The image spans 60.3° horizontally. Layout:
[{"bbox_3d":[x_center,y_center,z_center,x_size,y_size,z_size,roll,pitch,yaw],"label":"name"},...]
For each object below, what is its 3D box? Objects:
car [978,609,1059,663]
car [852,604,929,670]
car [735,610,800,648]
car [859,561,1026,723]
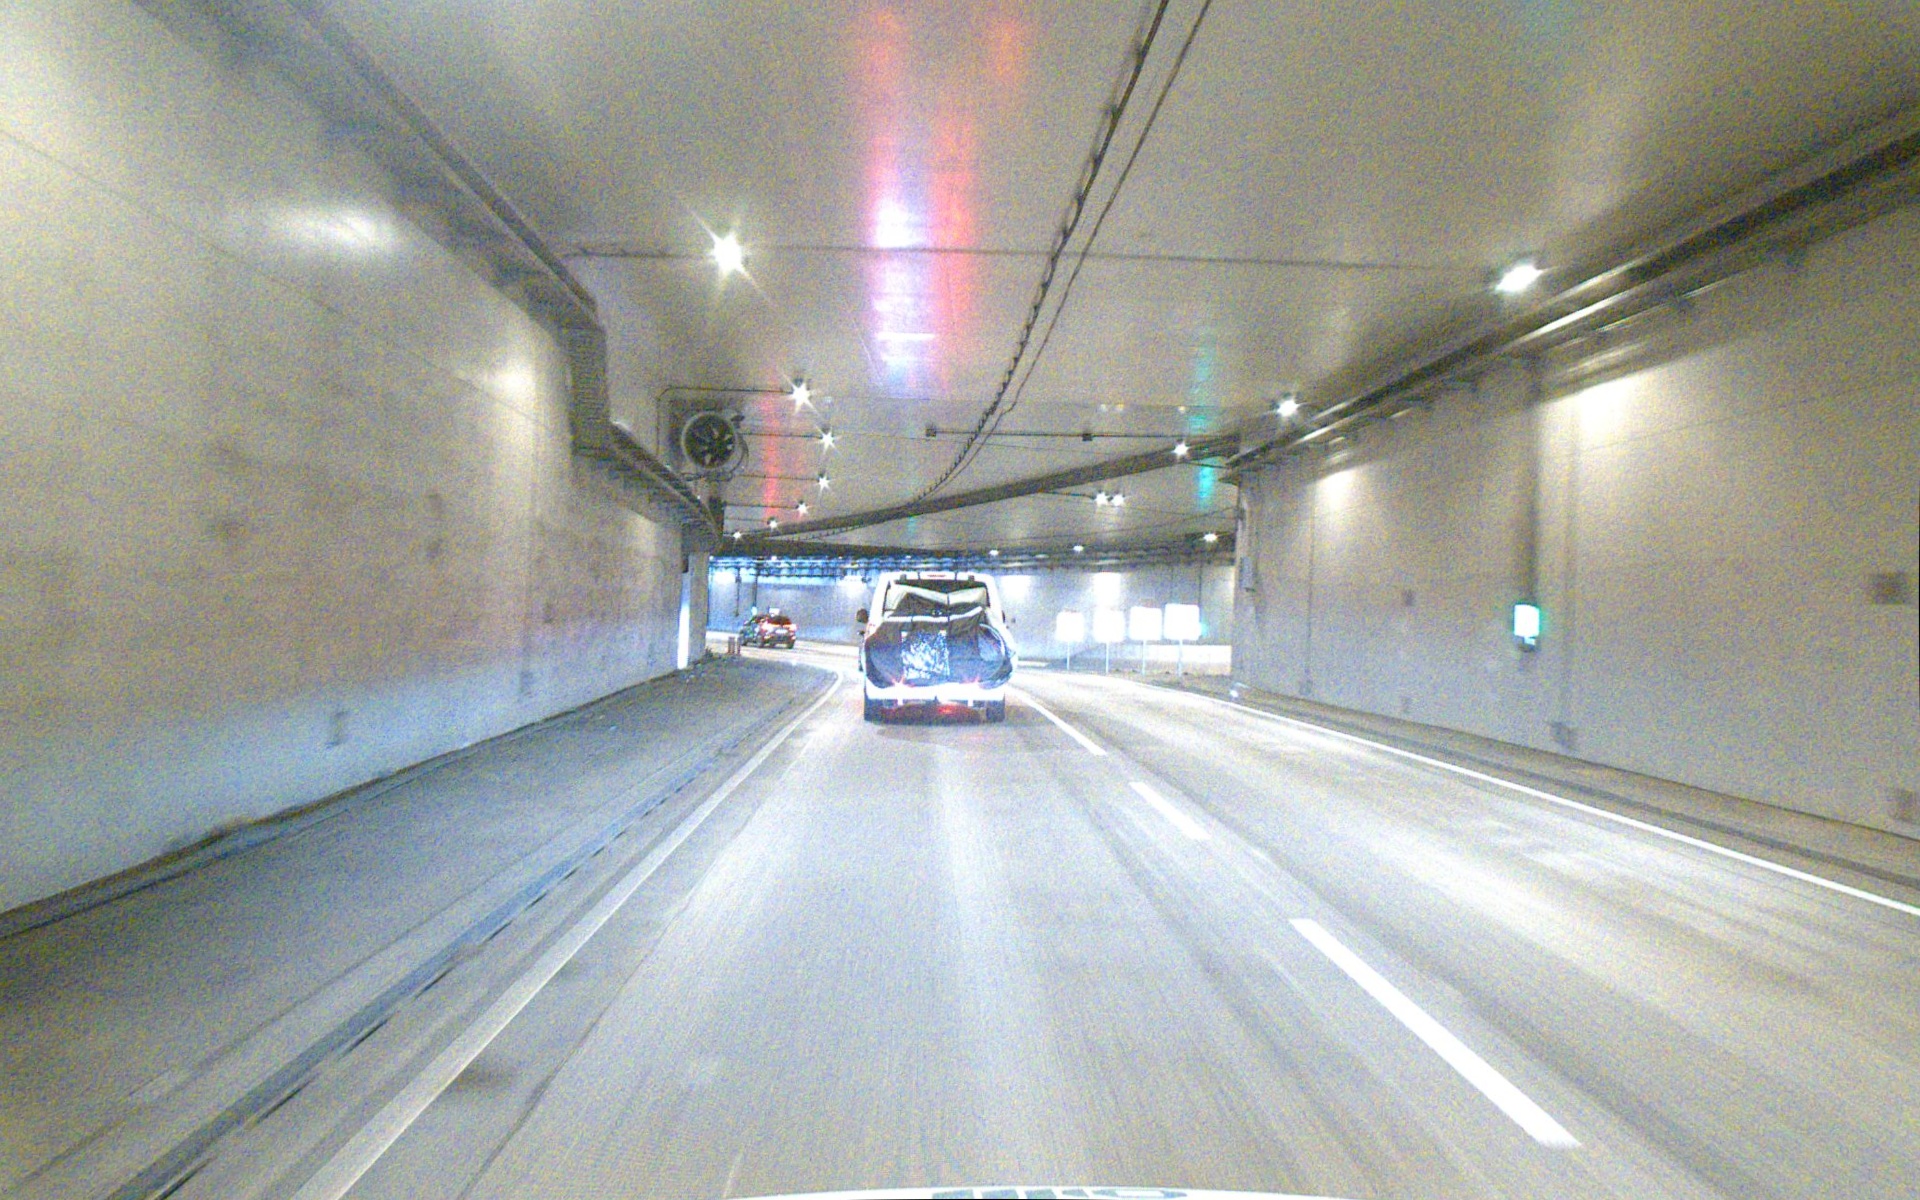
[{"bbox_3d":[1.899,1.144,54.278,1.578,1.658,3.337,-1,1,-19],"label":"car"},{"bbox_3d":[-1.866,0.988,43.384,1.573,1.622,3.347,2,-2,-10],"label":"car"},{"bbox_3d":[-9.617,1.428,82.292,1.803,1.658,3.805,3,-1,-30],"label":"car"},{"bbox_3d":[-0.355,0.537,22.201,1.954,1.880,5.297,1,-1,-3],"label":"car"}]
